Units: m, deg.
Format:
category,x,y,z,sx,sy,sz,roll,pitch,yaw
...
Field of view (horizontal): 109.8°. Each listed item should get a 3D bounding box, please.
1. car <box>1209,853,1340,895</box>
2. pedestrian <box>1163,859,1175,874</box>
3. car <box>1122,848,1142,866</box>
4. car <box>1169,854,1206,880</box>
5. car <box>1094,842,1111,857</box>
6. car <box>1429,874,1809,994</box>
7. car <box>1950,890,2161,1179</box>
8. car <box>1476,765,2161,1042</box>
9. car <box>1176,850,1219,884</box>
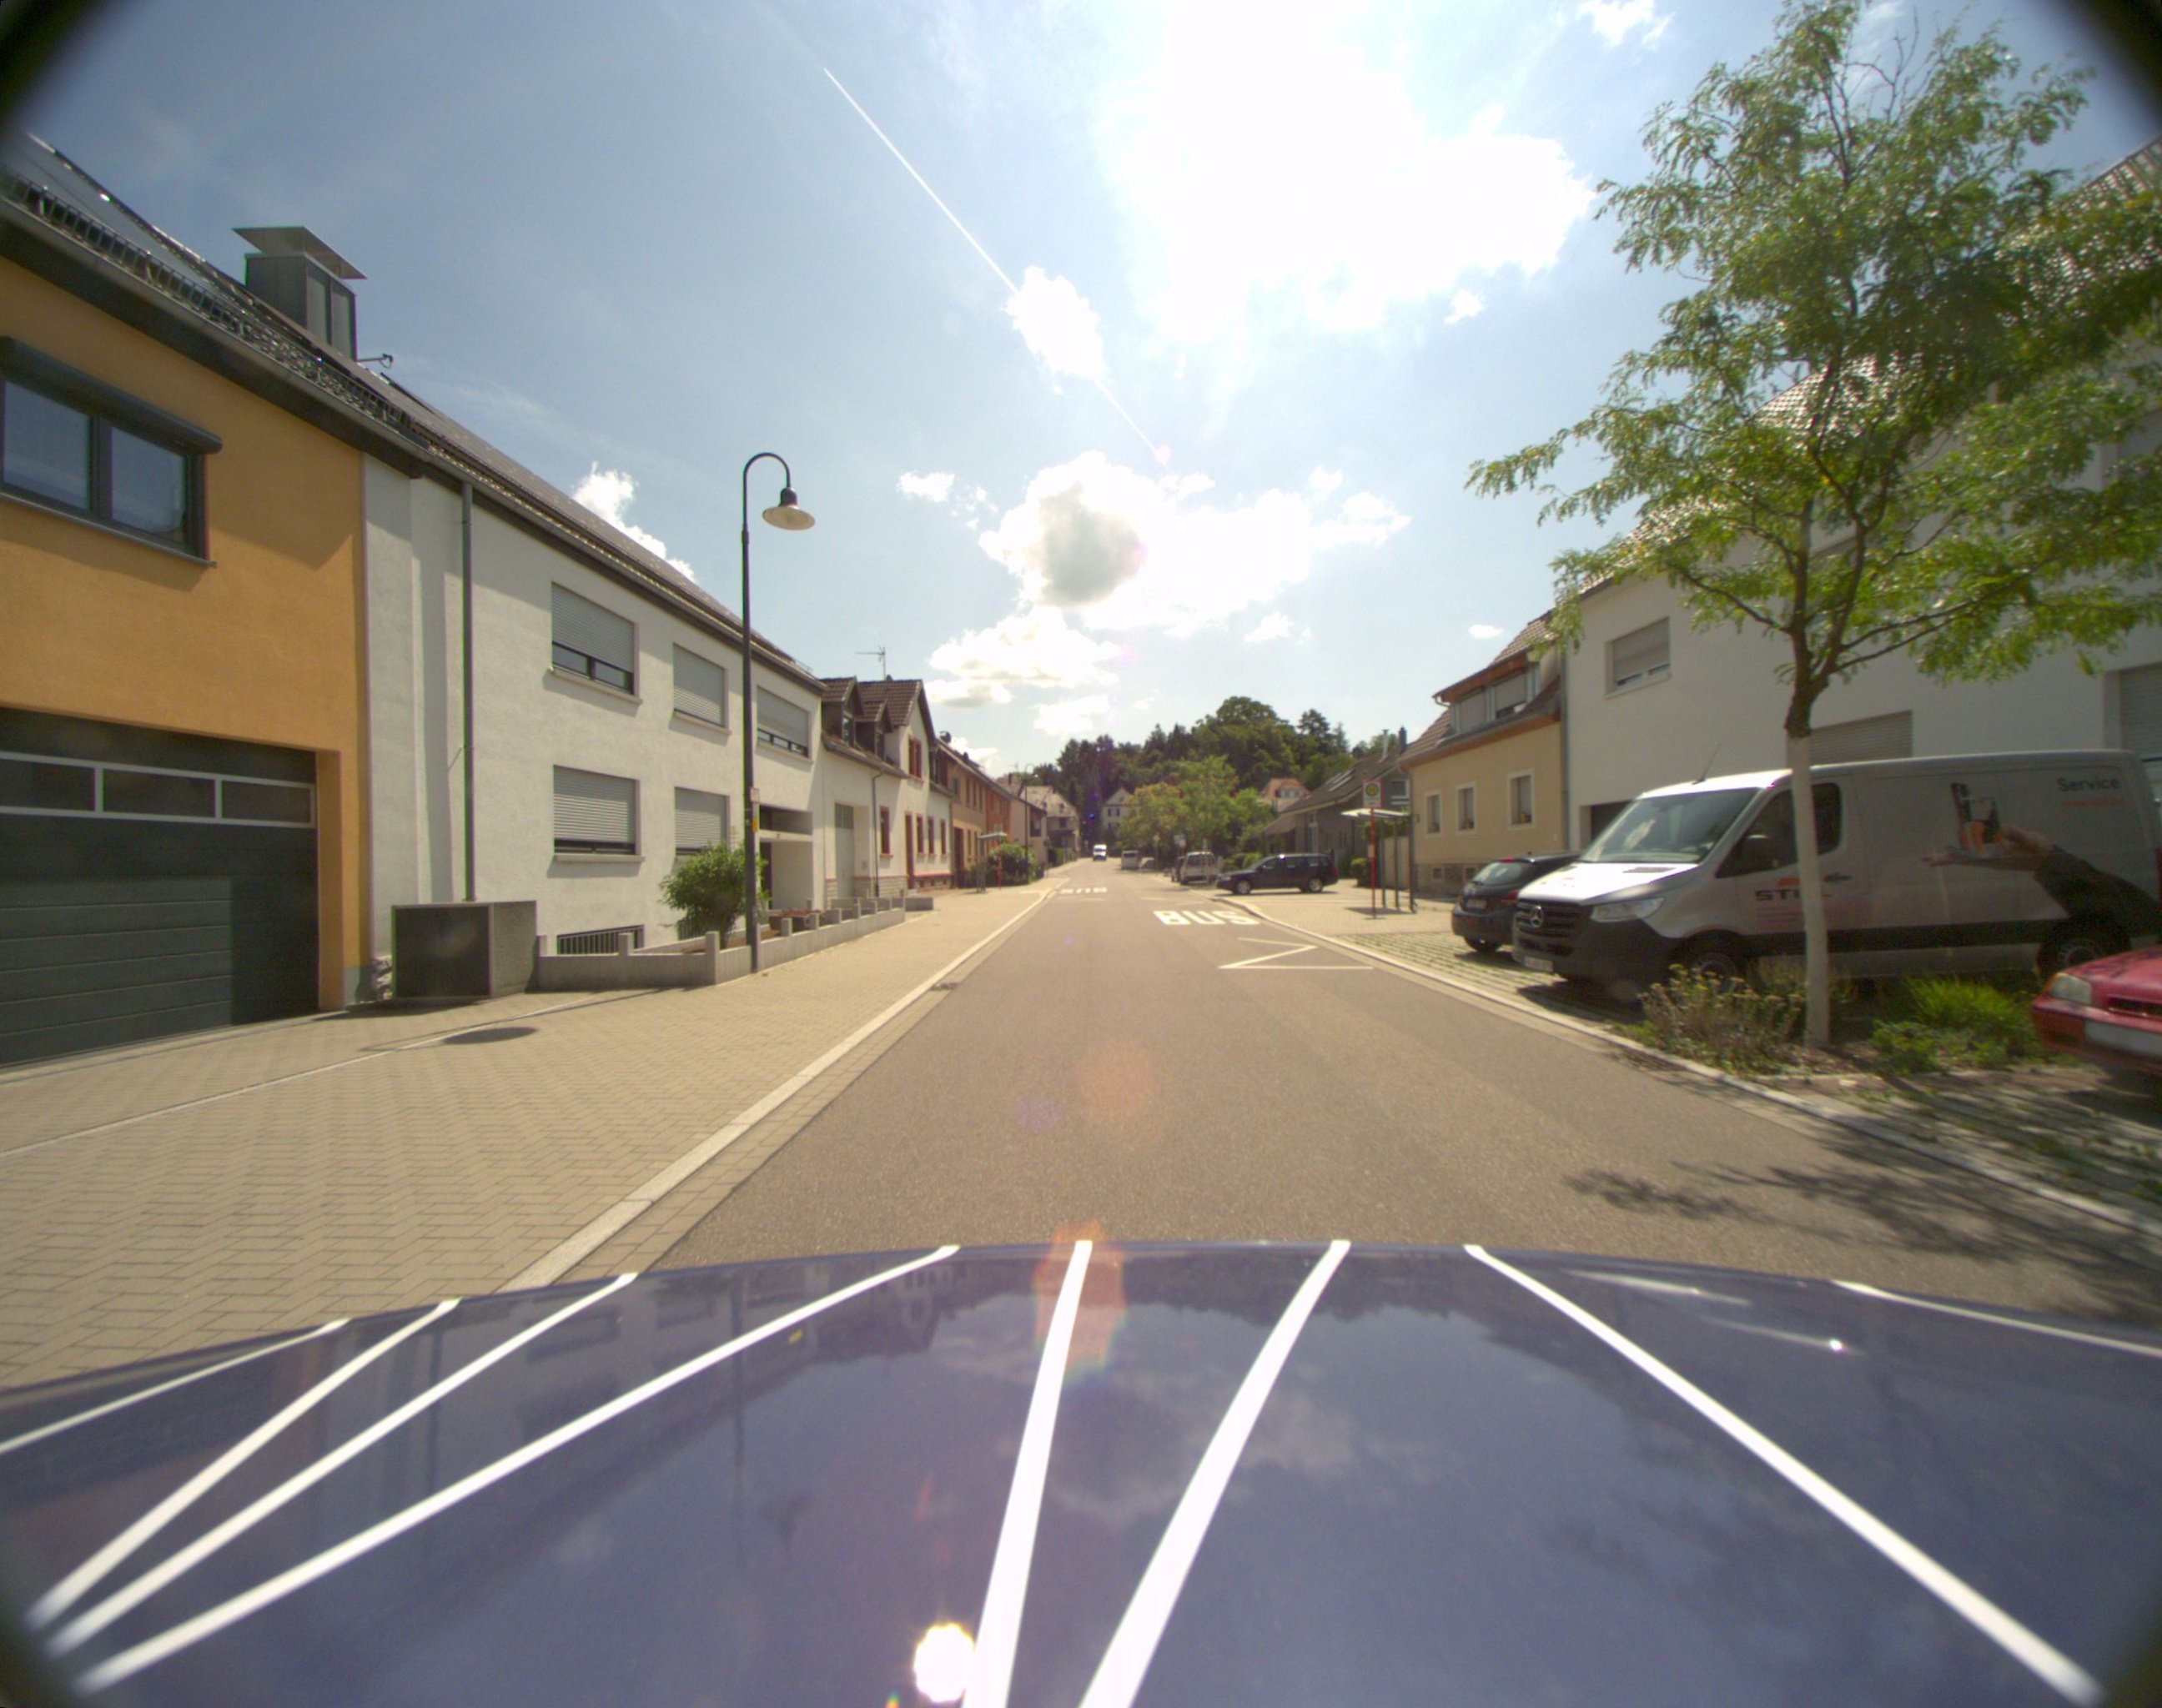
category,x,y,z,sx,sy,sz,roll,pitch,yaw
car,7.424,0.766,29.479,4.598,1.508,1.902,-1,0,1
pedestrian,6.929,0.971,60.049,0.815,1.135,0.885,-2,1,-2
car,5.723,0.279,85.621,1.998,1.968,4.000,0,1,1
car,6.606,0.836,47.278,1.727,1.515,3.910,-2,-1,0
car,3.428,-0.705,121.420,2.489,2.306,5.600,-2,1,1
car,7.297,1.036,10.625,3.997,1.437,1.901,-1,0,-1
car,7.331,0.901,3.854,3.792,1.377,1.725,-1,1,2
car,7.165,0.426,7.683,5.179,2.275,2.157,-2,0,-1
car,6.285,0.712,41.406,1.843,1.737,4.688,-2,-1,3
